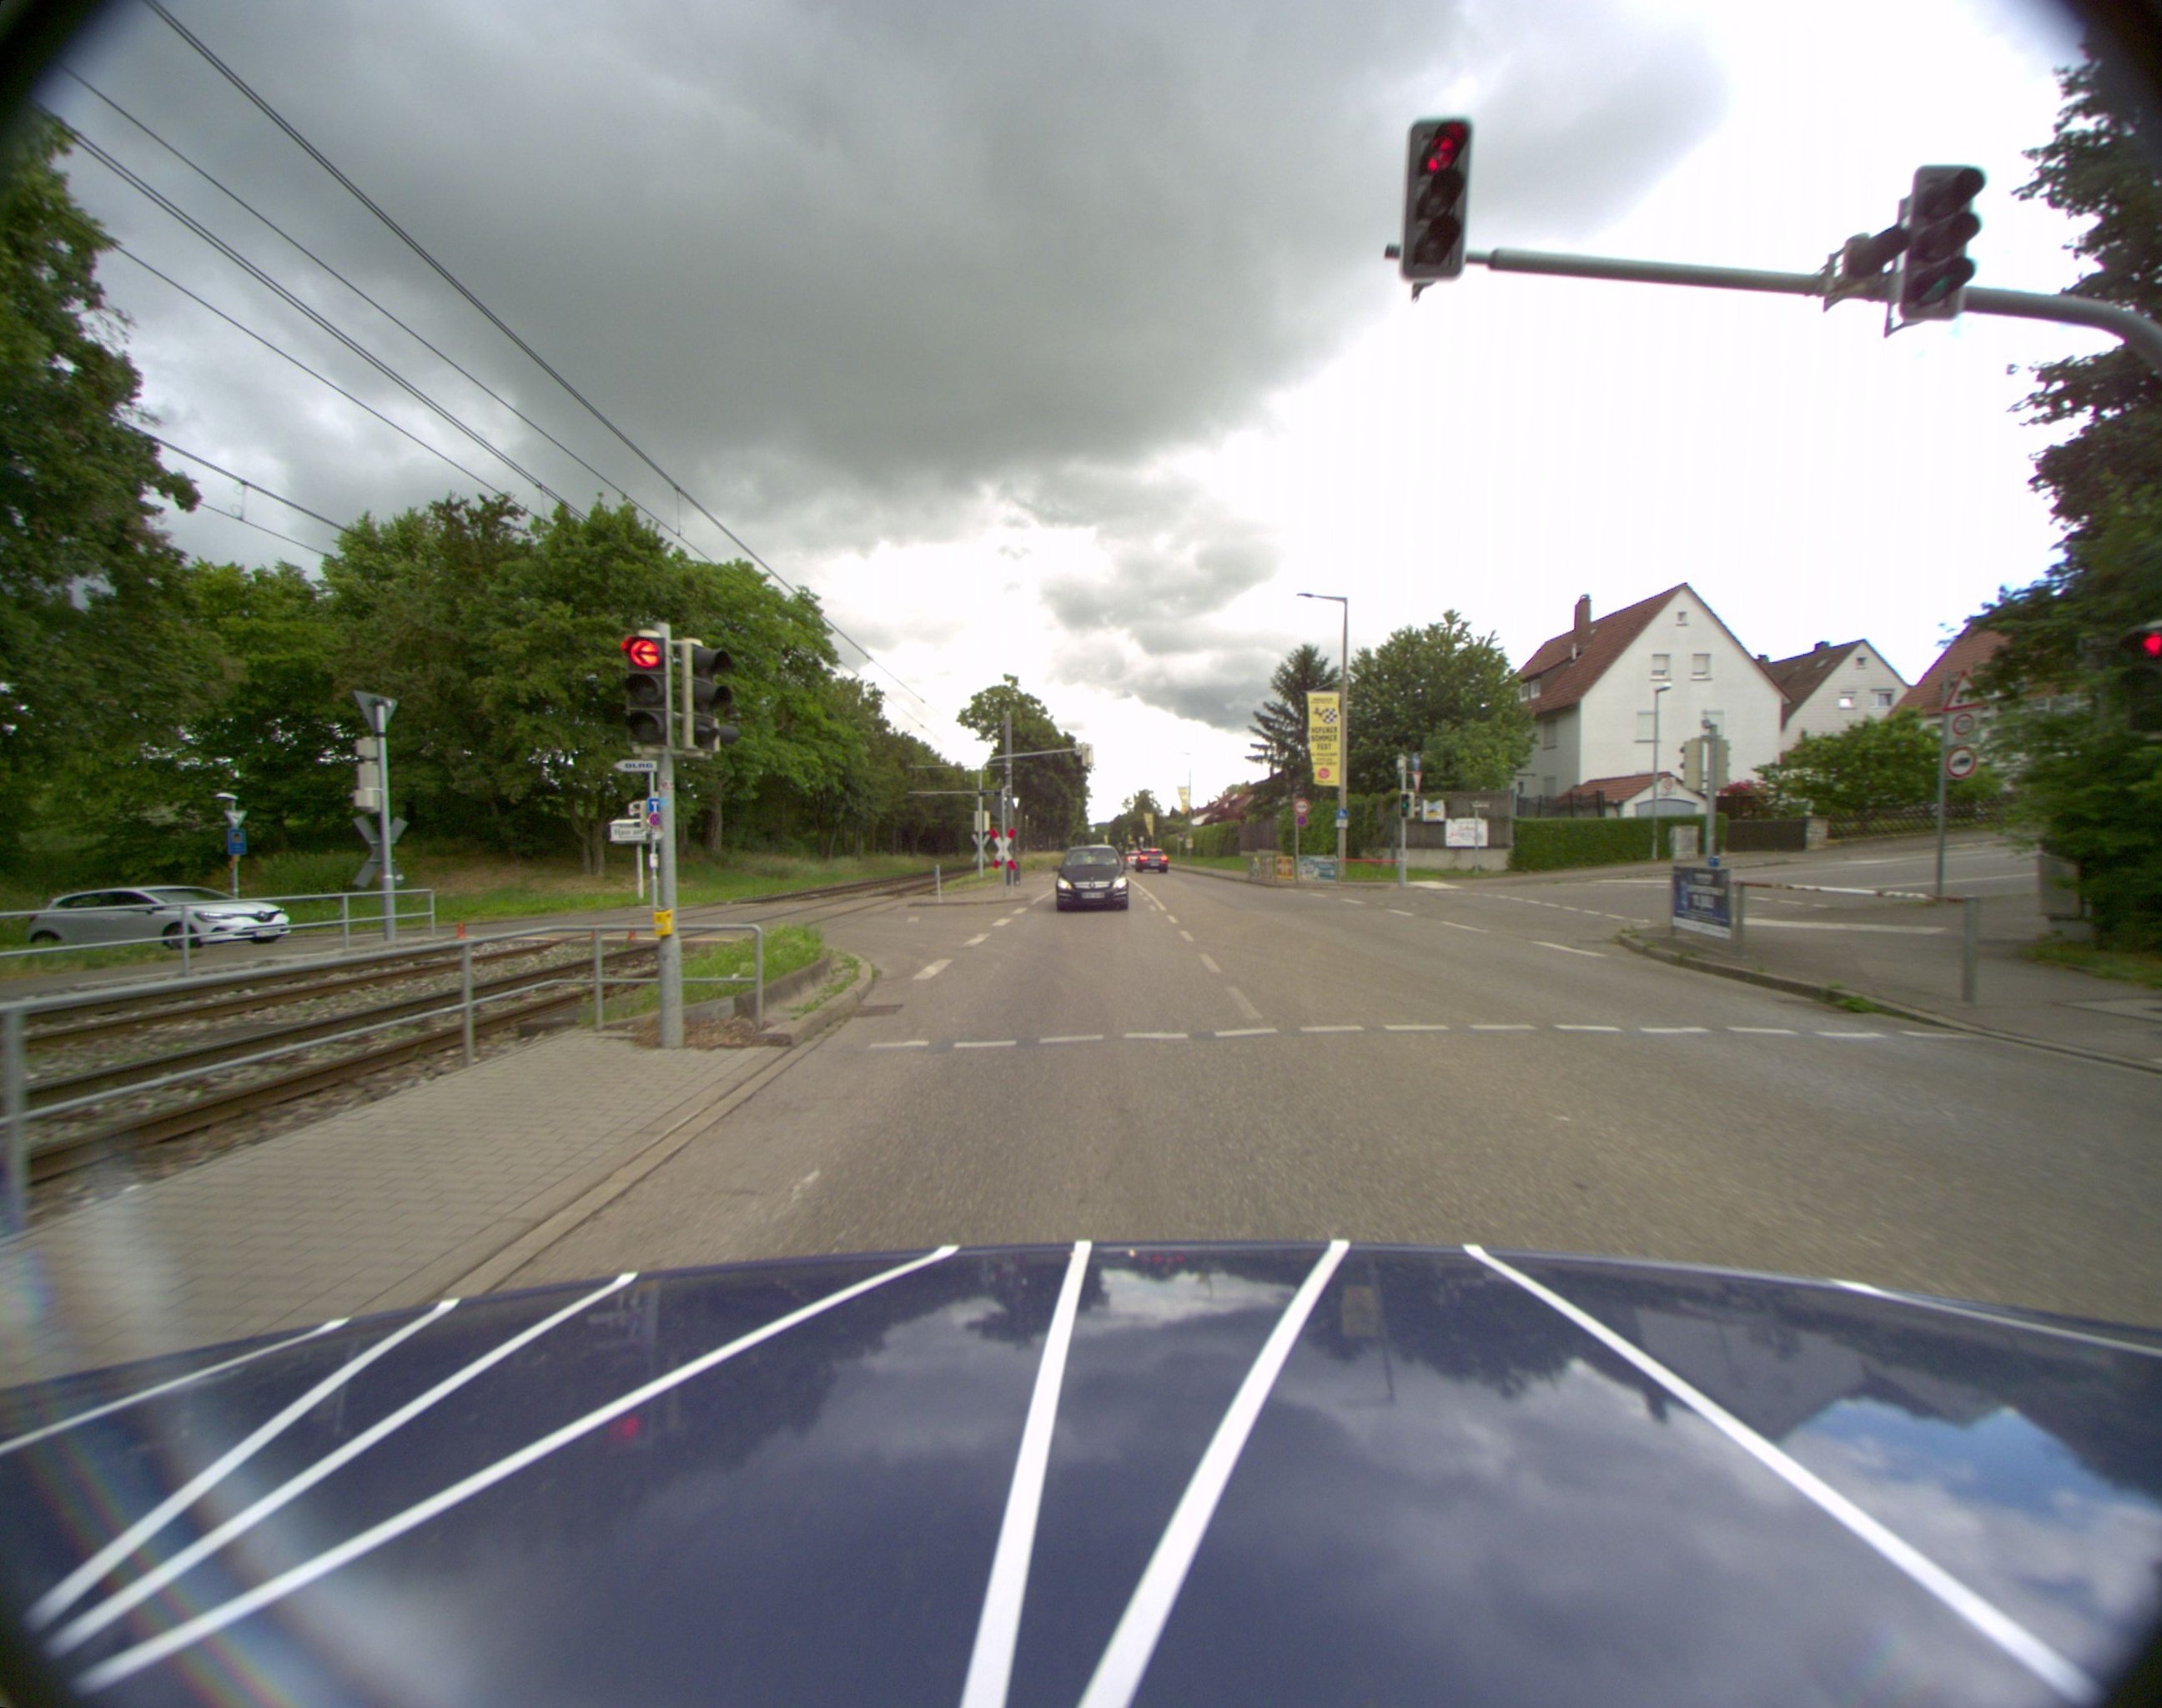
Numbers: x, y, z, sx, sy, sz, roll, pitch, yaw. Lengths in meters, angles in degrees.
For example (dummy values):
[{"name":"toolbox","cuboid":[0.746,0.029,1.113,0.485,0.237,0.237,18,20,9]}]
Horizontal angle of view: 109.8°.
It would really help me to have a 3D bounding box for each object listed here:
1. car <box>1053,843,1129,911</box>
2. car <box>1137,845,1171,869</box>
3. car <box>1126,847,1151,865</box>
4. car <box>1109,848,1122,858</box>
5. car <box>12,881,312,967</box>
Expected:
[{"name":"car","cuboid":[0.243,0.531,19.863,1.749,1.558,4.121,-1,0,0]},{"name":"car","cuboid":[4.945,0.164,51.991,1.904,1.570,4.278,0,1,0]},{"name":"car","cuboid":[4.918,0.156,65.566,1.880,1.501,4.207,0,1,0]},{"name":"car","cuboid":[5.733,-0.208,126.861,1.904,1.570,4.121,0,1,0]},{"name":"car","cuboid":[-19.453,1.440,16.241,3.998,1.376,1.784,-4,1,-2]}]
